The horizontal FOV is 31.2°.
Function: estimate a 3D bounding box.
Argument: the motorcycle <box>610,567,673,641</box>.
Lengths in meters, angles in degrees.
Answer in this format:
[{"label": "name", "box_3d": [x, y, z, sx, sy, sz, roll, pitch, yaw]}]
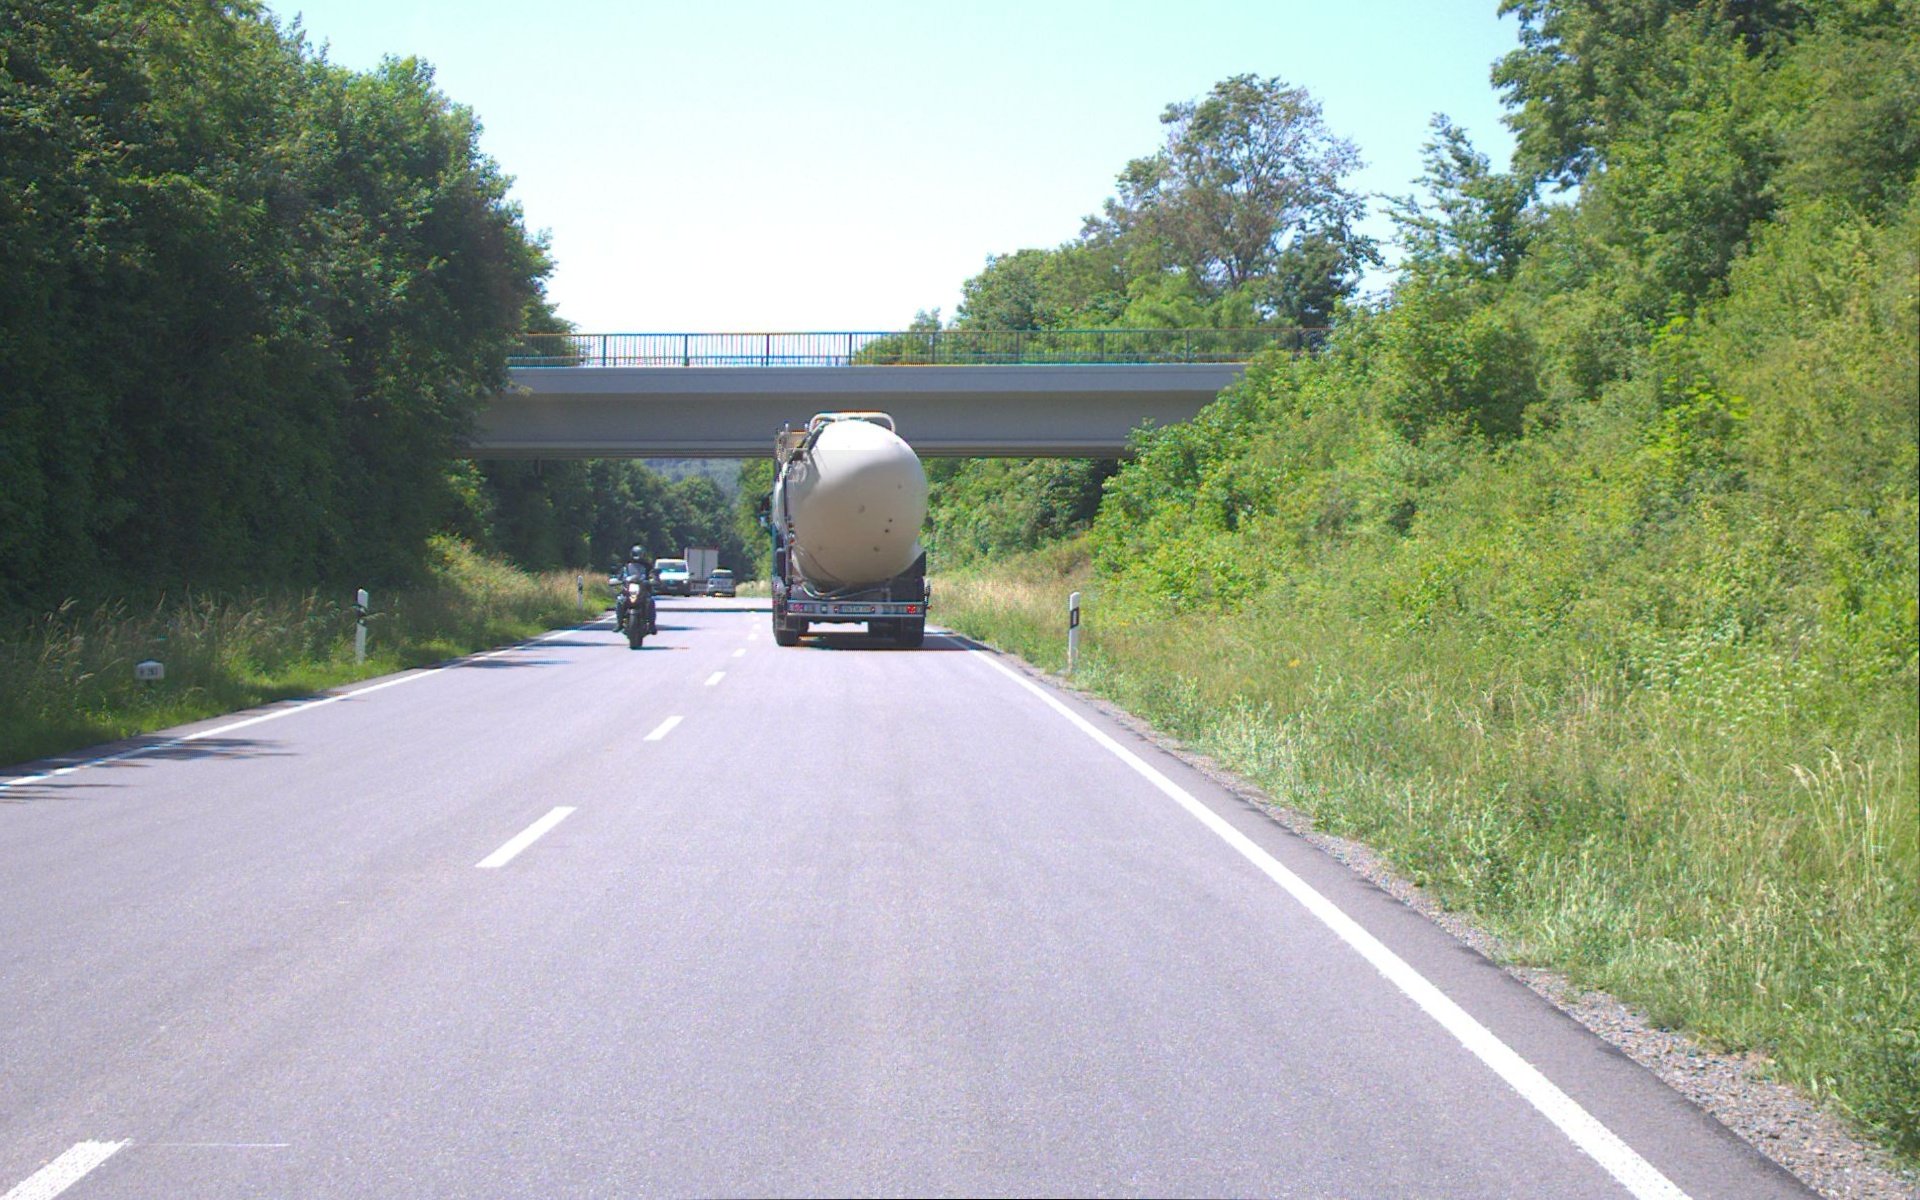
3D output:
[{"label": "motorcycle", "box_3d": [-5.401, 0.057, 58.419, 0.863, 1.217, 2.443, 0, 1, -1]}]

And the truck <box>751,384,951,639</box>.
[{"label": "truck", "box_3d": [-2.142, -1.395, 63.765, 3.049, 3.985, 15.637, 3, -1, -3]}]

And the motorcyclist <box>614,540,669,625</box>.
[{"label": "motorcyclist", "box_3d": [-5.398, -0.297, 58.366, 0.849, 1.433, 1.074, 0, 1, -1]}]

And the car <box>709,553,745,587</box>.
[{"label": "car", "box_3d": [-14.092, -1.812, 207.991, 1.993, 2.007, 4.001, 1, 1, -6]}]

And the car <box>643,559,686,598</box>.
[{"label": "car", "box_3d": [-14.754, -1.085, 171.953, 1.931, 1.899, 5.328, 1, 1, -3]}]
